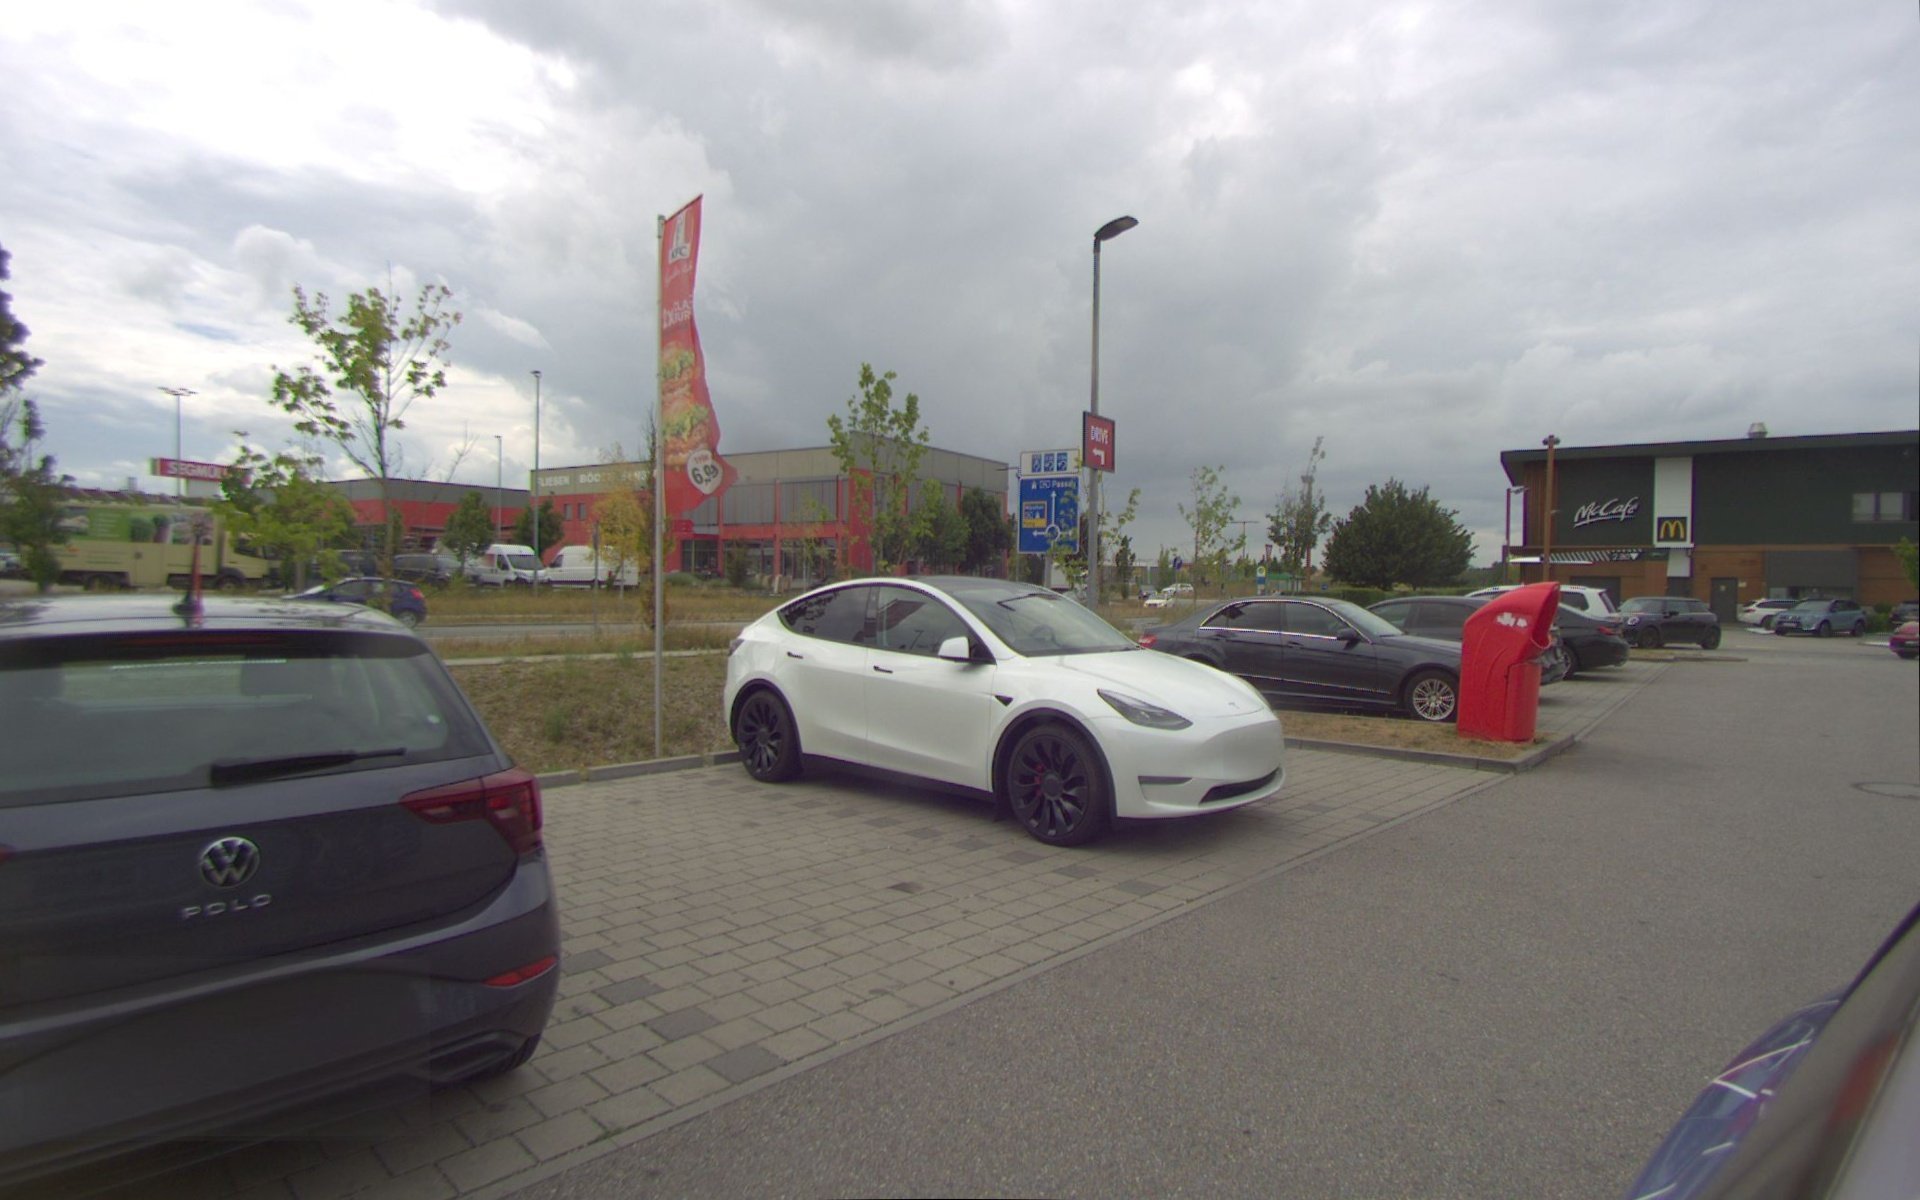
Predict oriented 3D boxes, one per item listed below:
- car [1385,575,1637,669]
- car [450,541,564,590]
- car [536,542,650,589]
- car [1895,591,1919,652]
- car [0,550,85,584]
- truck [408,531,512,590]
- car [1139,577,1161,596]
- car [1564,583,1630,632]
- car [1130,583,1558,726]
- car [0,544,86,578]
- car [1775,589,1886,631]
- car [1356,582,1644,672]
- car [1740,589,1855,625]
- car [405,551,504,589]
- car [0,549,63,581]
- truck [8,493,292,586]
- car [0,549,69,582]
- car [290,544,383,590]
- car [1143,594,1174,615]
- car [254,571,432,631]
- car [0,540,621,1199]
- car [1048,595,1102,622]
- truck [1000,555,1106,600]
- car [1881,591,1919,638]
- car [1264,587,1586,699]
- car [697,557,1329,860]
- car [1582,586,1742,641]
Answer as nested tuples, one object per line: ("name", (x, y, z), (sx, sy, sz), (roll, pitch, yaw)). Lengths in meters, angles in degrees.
("car", (11.258, 0.422, 20.787), (4.345, 1.735, 1.966), (-1, -1, 36))
("car", (-22.836, -1.758, 50.924), (6.019, 2.241, 2.387), (3, 2, 34))
("car", (-19.912, -1.898, 54.825), (6.457, 2.295, 2.319), (3, 2, 32))
("car", (25.224, 0.560, 24.668), (3.916, 1.482, 1.691), (1, 0, -14))
("car", (-52.845, -1.886, 57.733), (1.988, 1.860, 4.133), (3, 2, 36))
("truck", (-34.751, -2.780, 70.241), (8.198, 3.789, 2.626), (3, 2, 33))
("car", (19.091, -1.372, 101.881), (1.966, 1.726, 3.993), (1, 3, 8))
("car", (24.636, 0.249, 39.245), (1.795, 1.710, 4.149), (3, 2, 28))
("car", (4.706, 0.581, 12.824), (4.718, 1.474, 1.885), (-1, 1, 39))
("car", (-52.540, -2.217, 57.561), (1.988, 1.793, 3.950), (3, 2, 35))
("car", (36.589, 0.429, 42.557), (3.822, 1.604, 1.755), (1, 2, -18))
("car", (9.880, 0.460, 18.665), (4.488, 1.485, 1.922), (-1, -1, 36))
("car", (40.497, 0.314, 49.043), (3.969, 1.524, 1.769), (3, 2, 31))
("car", (-24.252, -1.448, 48.471), (5.036, 1.659, 2.052), (3, 2, 34))
("car", (-56.928, -2.132, 60.856), (1.988, 1.860, 4.133), (3, 2, 36))
("truck", (-31.816, -2.331, 40.241), (8.254, 3.235, 3.037), (1, 2, -18))
("car", (-55.004, -2.006, 59.099), (1.988, 1.860, 4.133), (3, 2, 36))
("car", (-27.748, -1.448, 44.975), (5.046, 1.908, 2.048), (1, 1, 40))
("car", (15.172, 0.356, 77.200), (1.733, 1.510, 4.102), (2, 0, 20))
("car", (-16.767, -0.010, 27.624), (1.656, 1.477, 3.858), (4, 3, 44))
("car", (-2.755, 0.623, 3.432), (1.709, 1.430, 3.801), (0, -1, -42))
("car", (7.032, 0.532, 61.540), (1.741, 1.510, 4.084), (2, 0, 31))
("truck", (10.242, -2.588, 113.007), (11.952, 4.554, 3.711), (4, 3, 42))
("car", (39.329, 0.656, 40.562), (3.916, 1.771, 2.005), (2, 2, -22))
("car", (6.790, 0.568, 14.942), (4.045, 1.430, 1.864), (-1, -1, 36))
("car", (0.123, 0.576, 7.482), (4.529, 1.560, 1.896), (-1, -1, 43))
("car", (19.593, 0.381, 28.264), (3.847, 1.430, 1.691), (1, 0, -19))
